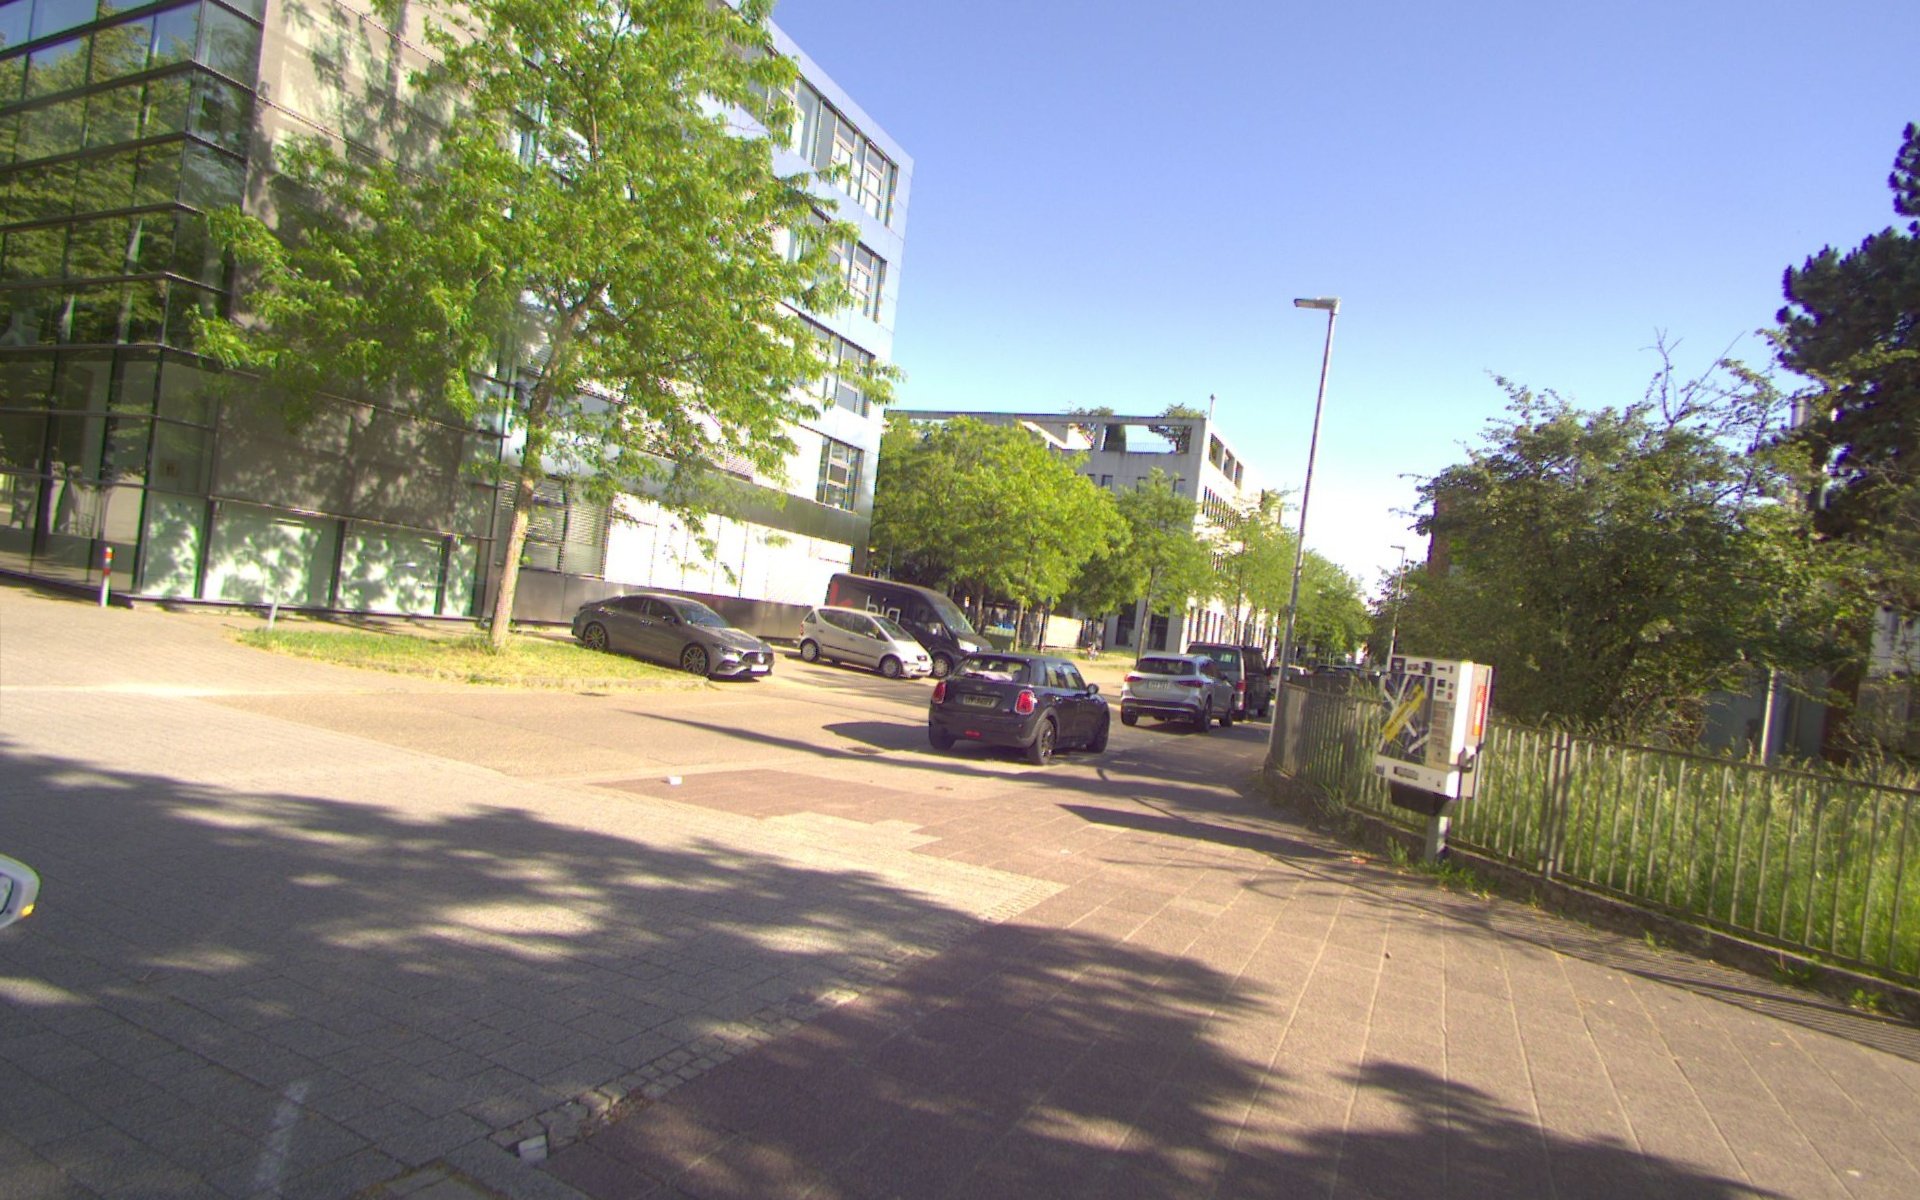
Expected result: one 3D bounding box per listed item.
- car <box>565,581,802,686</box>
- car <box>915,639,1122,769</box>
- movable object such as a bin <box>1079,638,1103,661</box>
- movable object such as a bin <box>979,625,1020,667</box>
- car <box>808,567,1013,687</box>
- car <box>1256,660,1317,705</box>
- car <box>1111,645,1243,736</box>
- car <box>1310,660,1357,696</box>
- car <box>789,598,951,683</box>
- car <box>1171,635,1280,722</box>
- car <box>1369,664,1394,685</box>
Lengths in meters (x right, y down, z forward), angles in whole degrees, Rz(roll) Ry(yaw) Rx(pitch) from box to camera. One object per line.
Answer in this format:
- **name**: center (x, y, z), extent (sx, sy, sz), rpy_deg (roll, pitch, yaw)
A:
- **car**: center (-5.733, 0.691, 20.763), extent (4.469, 1.366, 1.891), rpy_deg (9, 0, 26)
- **car**: center (0.996, 1.465, 14.716), extent (1.628, 1.489, 3.763), rpy_deg (5, -2, 25)
- **movable object such as a bin**: center (7.499, 2.846, 57.484), extent (0.653, 1.196, 1.934), rpy_deg (7, 0, 26)
- **movable object such as a bin**: center (1.540, 1.775, 38.677), extent (1.273, 1.431, 1.228), rpy_deg (7, 0, 9)
- **car**: center (-1.482, 0.787, 29.804), extent (5.374, 2.654, 2.230), rpy_deg (9, 0, 25)
- **car**: center (13.494, 3.375, 41.450), extent (1.636, 1.580, 3.931), rpy_deg (7, -1, 27)
- **car**: center (4.940, 1.984, 22.386), extent (1.799, 1.648, 4.292), rpy_deg (5, -2, 26)
- **car**: center (20.600, 4.303, 55.401), extent (1.812, 1.653, 4.197), rpy_deg (7, -1, 27)
- **car**: center (-2.457, 1.113, 27.437), extent (3.775, 1.665, 1.891), rpy_deg (9, 0, 26)
- **car**: center (7.553, 2.219, 28.290), extent (1.915, 2.046, 4.823), rpy_deg (5, -2, 26)
- **car**: center (42.103, 7.421, 100.546), extent (1.965, 1.856, 3.996), rpy_deg (3, -2, 27)
